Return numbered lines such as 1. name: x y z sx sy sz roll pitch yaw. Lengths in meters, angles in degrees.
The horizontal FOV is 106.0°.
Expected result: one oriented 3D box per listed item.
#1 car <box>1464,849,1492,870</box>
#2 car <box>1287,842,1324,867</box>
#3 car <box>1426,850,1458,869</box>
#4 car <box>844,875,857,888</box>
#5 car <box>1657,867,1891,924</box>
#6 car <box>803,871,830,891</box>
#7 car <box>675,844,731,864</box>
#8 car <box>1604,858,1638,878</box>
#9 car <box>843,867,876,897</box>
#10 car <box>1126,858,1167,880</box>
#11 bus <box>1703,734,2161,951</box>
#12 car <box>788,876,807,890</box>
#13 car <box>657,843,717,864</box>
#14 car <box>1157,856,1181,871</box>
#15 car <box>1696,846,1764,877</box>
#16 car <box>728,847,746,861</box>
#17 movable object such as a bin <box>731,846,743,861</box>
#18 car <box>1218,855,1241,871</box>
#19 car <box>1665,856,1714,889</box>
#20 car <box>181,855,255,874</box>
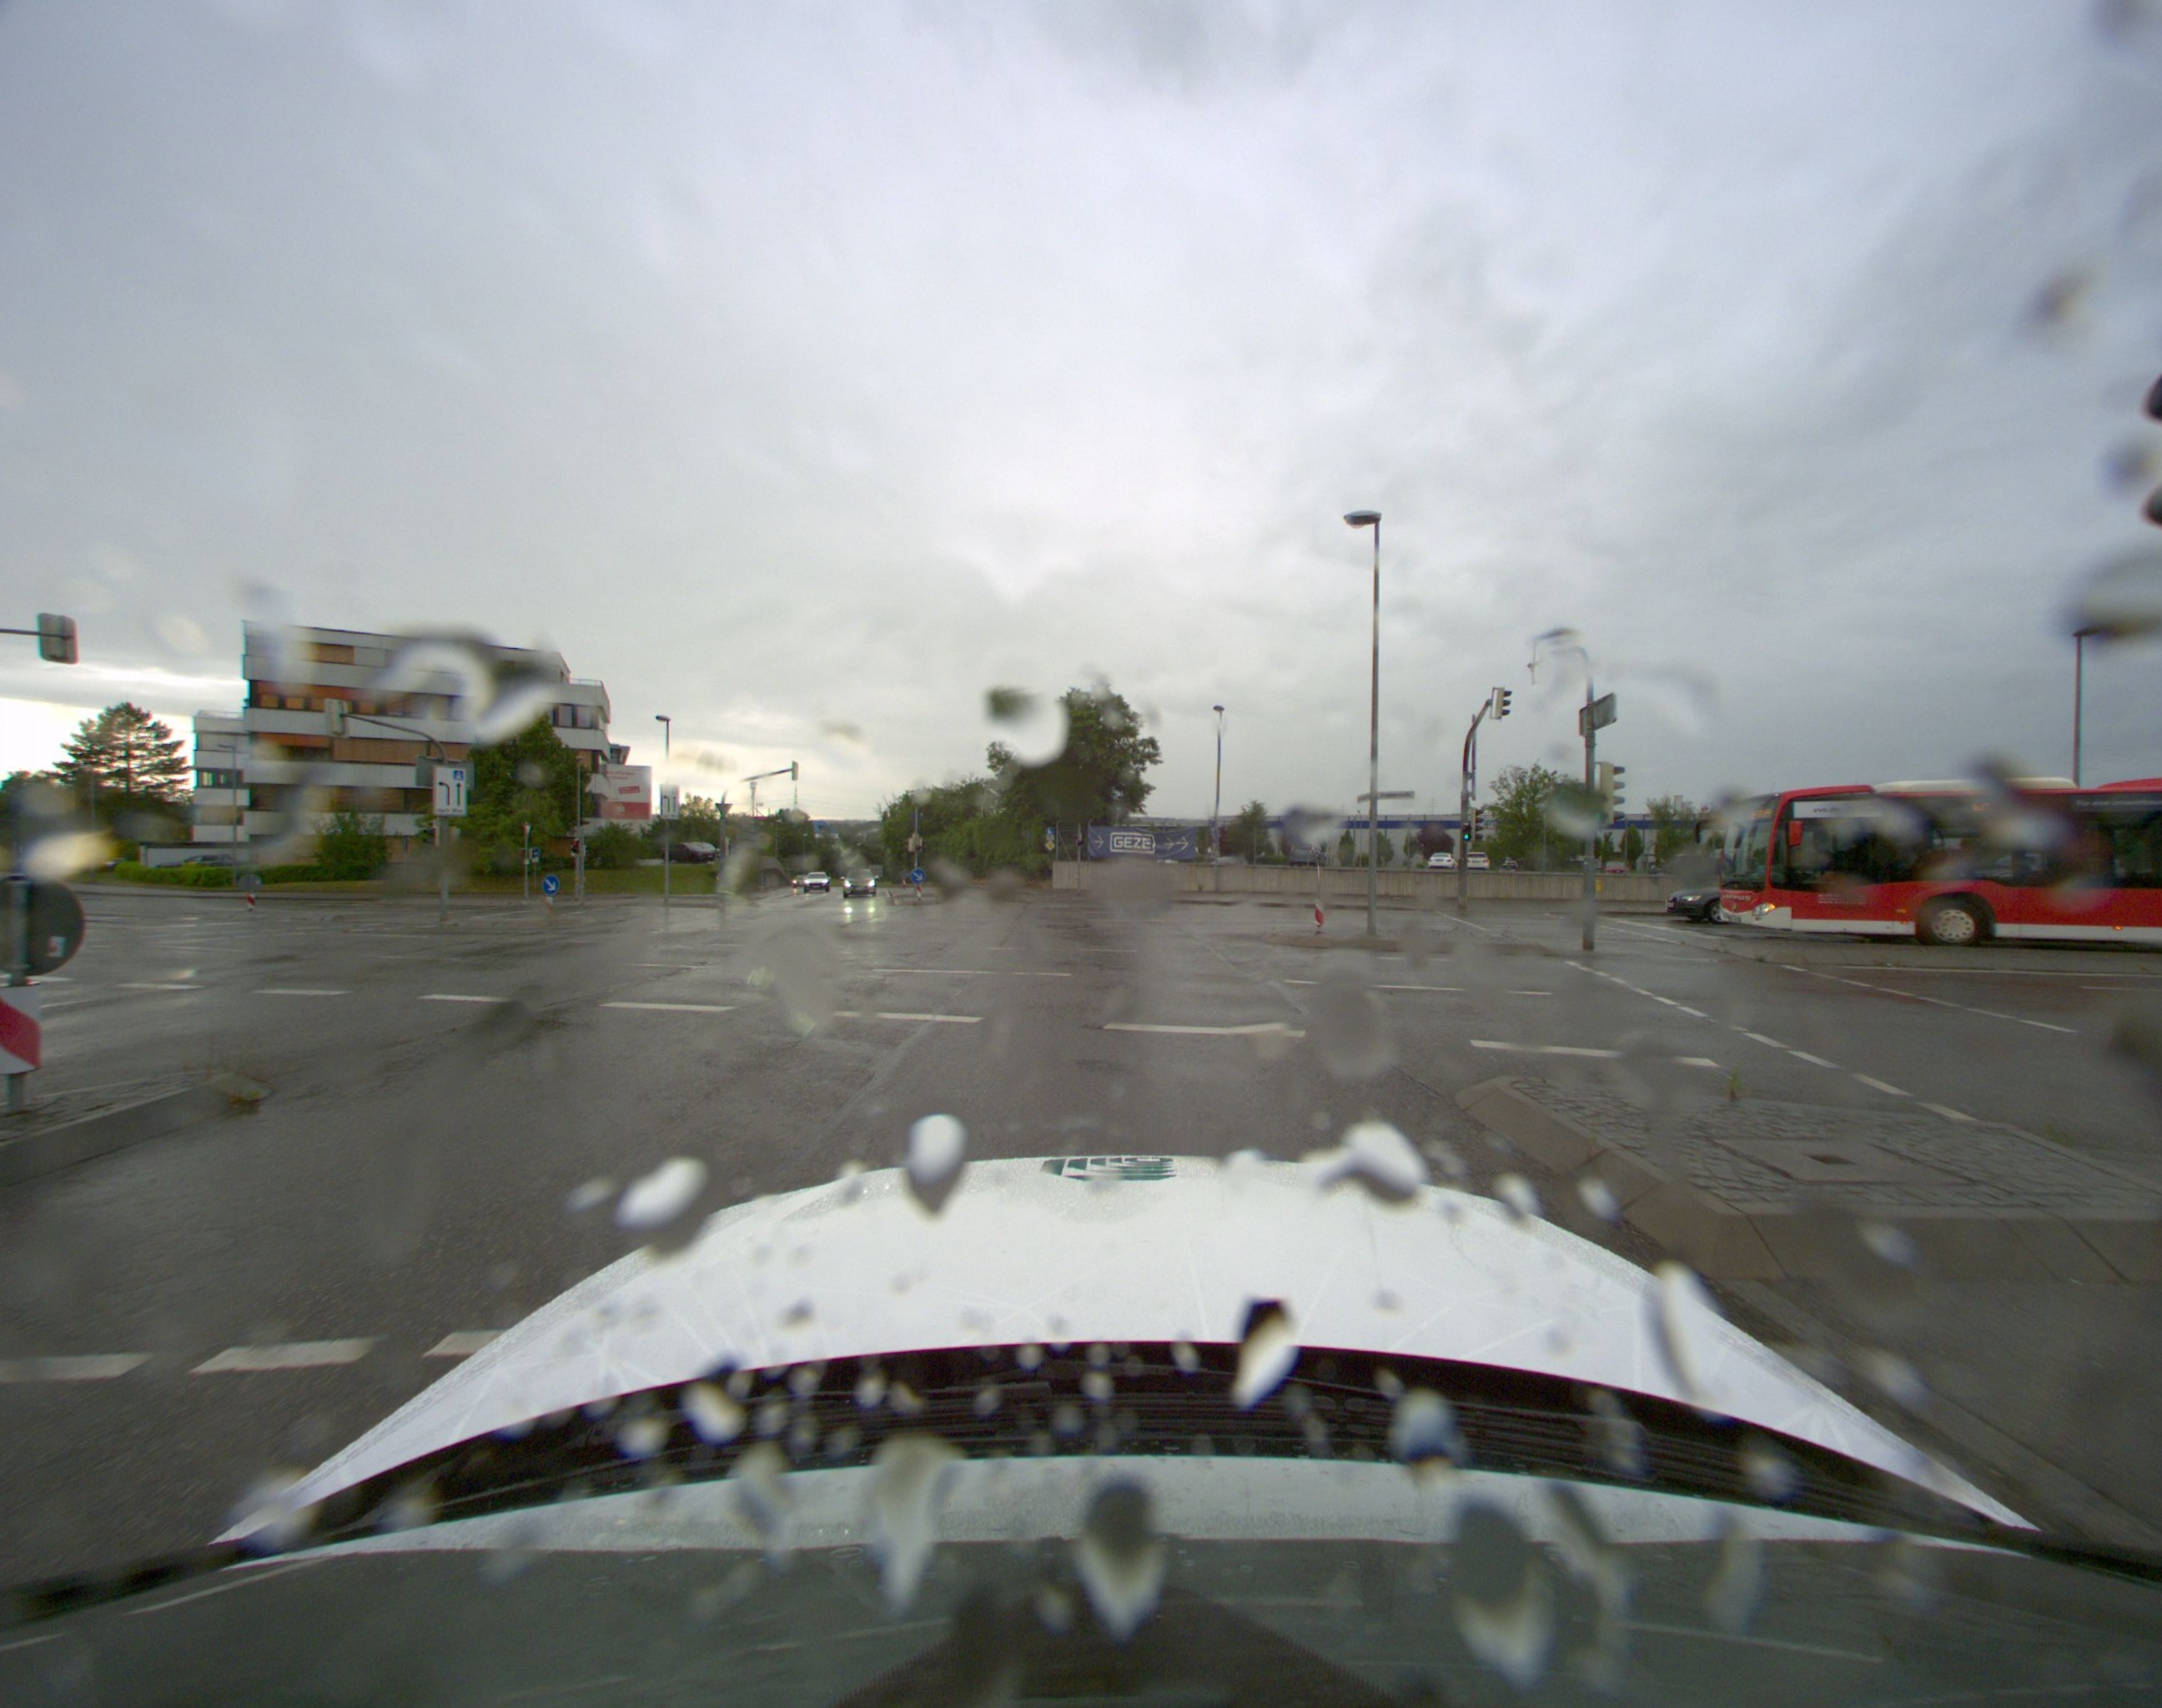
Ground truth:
1. car: 30.346 0.444 62.240 1.840 1.526 4.128 -1 -1 26
2. car: 14.568 0.029 52.715 1.727 1.553 3.550 -1 -1 24
3. car: 27.938 0.428 62.990 1.800 1.434 4.129 -1 -1 29
4. car: -38.528 4.521 136.066 1.998 2.013 3.977 0 0 -17
5. car: 18.044 1.027 21.466 4.343 1.354 1.835 0 0 19
6. car: -20.467 2.077 63.036 1.723 1.495 3.980 0 -1 -14
7. car: -31.676 0.047 68.302 3.957 1.586 1.910 0 -3 16
8. car: 44.352 1.096 66.944 1.904 1.589 3.811 0 0 27
9. car: -11.892 1.485 43.830 1.664 1.495 3.980 0 -1 -14
10. car: 4.683 1.061 57.893 1.727 1.570 3.550 -1 -1 24
11. bus: 19.046 -0.160 14.627 12.149 3.576 3.001 1 0 20
12. car: -32.272 3.250 92.593 1.905 1.456 3.972 0 0 -21
13. car: -31.882 -0.052 65.937 3.960 1.586 1.908 0 -3 12
14. car: 9.929 1.071 91.469 1.651 1.606 3.550 -1 -1 24
15. car: 34.030 0.389 42.845 1.691 1.559 4.211 -1 -1 23
16. car: -39.915 0.047 94.566 1.835 1.442 3.968 1 -3 -23
17. movable object such as a bin: -35.760 -0.036 84.582 1.088 1.437 1.435 2 -3 -23
18. car: 16.024 0.972 87.863 1.651 1.606 3.550 -1 -1 24
19. car: 39.054 1.185 52.354 1.727 2.014 3.845 -1 -1 24
20. car: -68.533 0.823 64.769 3.778 1.399 1.977 0 0 -39
